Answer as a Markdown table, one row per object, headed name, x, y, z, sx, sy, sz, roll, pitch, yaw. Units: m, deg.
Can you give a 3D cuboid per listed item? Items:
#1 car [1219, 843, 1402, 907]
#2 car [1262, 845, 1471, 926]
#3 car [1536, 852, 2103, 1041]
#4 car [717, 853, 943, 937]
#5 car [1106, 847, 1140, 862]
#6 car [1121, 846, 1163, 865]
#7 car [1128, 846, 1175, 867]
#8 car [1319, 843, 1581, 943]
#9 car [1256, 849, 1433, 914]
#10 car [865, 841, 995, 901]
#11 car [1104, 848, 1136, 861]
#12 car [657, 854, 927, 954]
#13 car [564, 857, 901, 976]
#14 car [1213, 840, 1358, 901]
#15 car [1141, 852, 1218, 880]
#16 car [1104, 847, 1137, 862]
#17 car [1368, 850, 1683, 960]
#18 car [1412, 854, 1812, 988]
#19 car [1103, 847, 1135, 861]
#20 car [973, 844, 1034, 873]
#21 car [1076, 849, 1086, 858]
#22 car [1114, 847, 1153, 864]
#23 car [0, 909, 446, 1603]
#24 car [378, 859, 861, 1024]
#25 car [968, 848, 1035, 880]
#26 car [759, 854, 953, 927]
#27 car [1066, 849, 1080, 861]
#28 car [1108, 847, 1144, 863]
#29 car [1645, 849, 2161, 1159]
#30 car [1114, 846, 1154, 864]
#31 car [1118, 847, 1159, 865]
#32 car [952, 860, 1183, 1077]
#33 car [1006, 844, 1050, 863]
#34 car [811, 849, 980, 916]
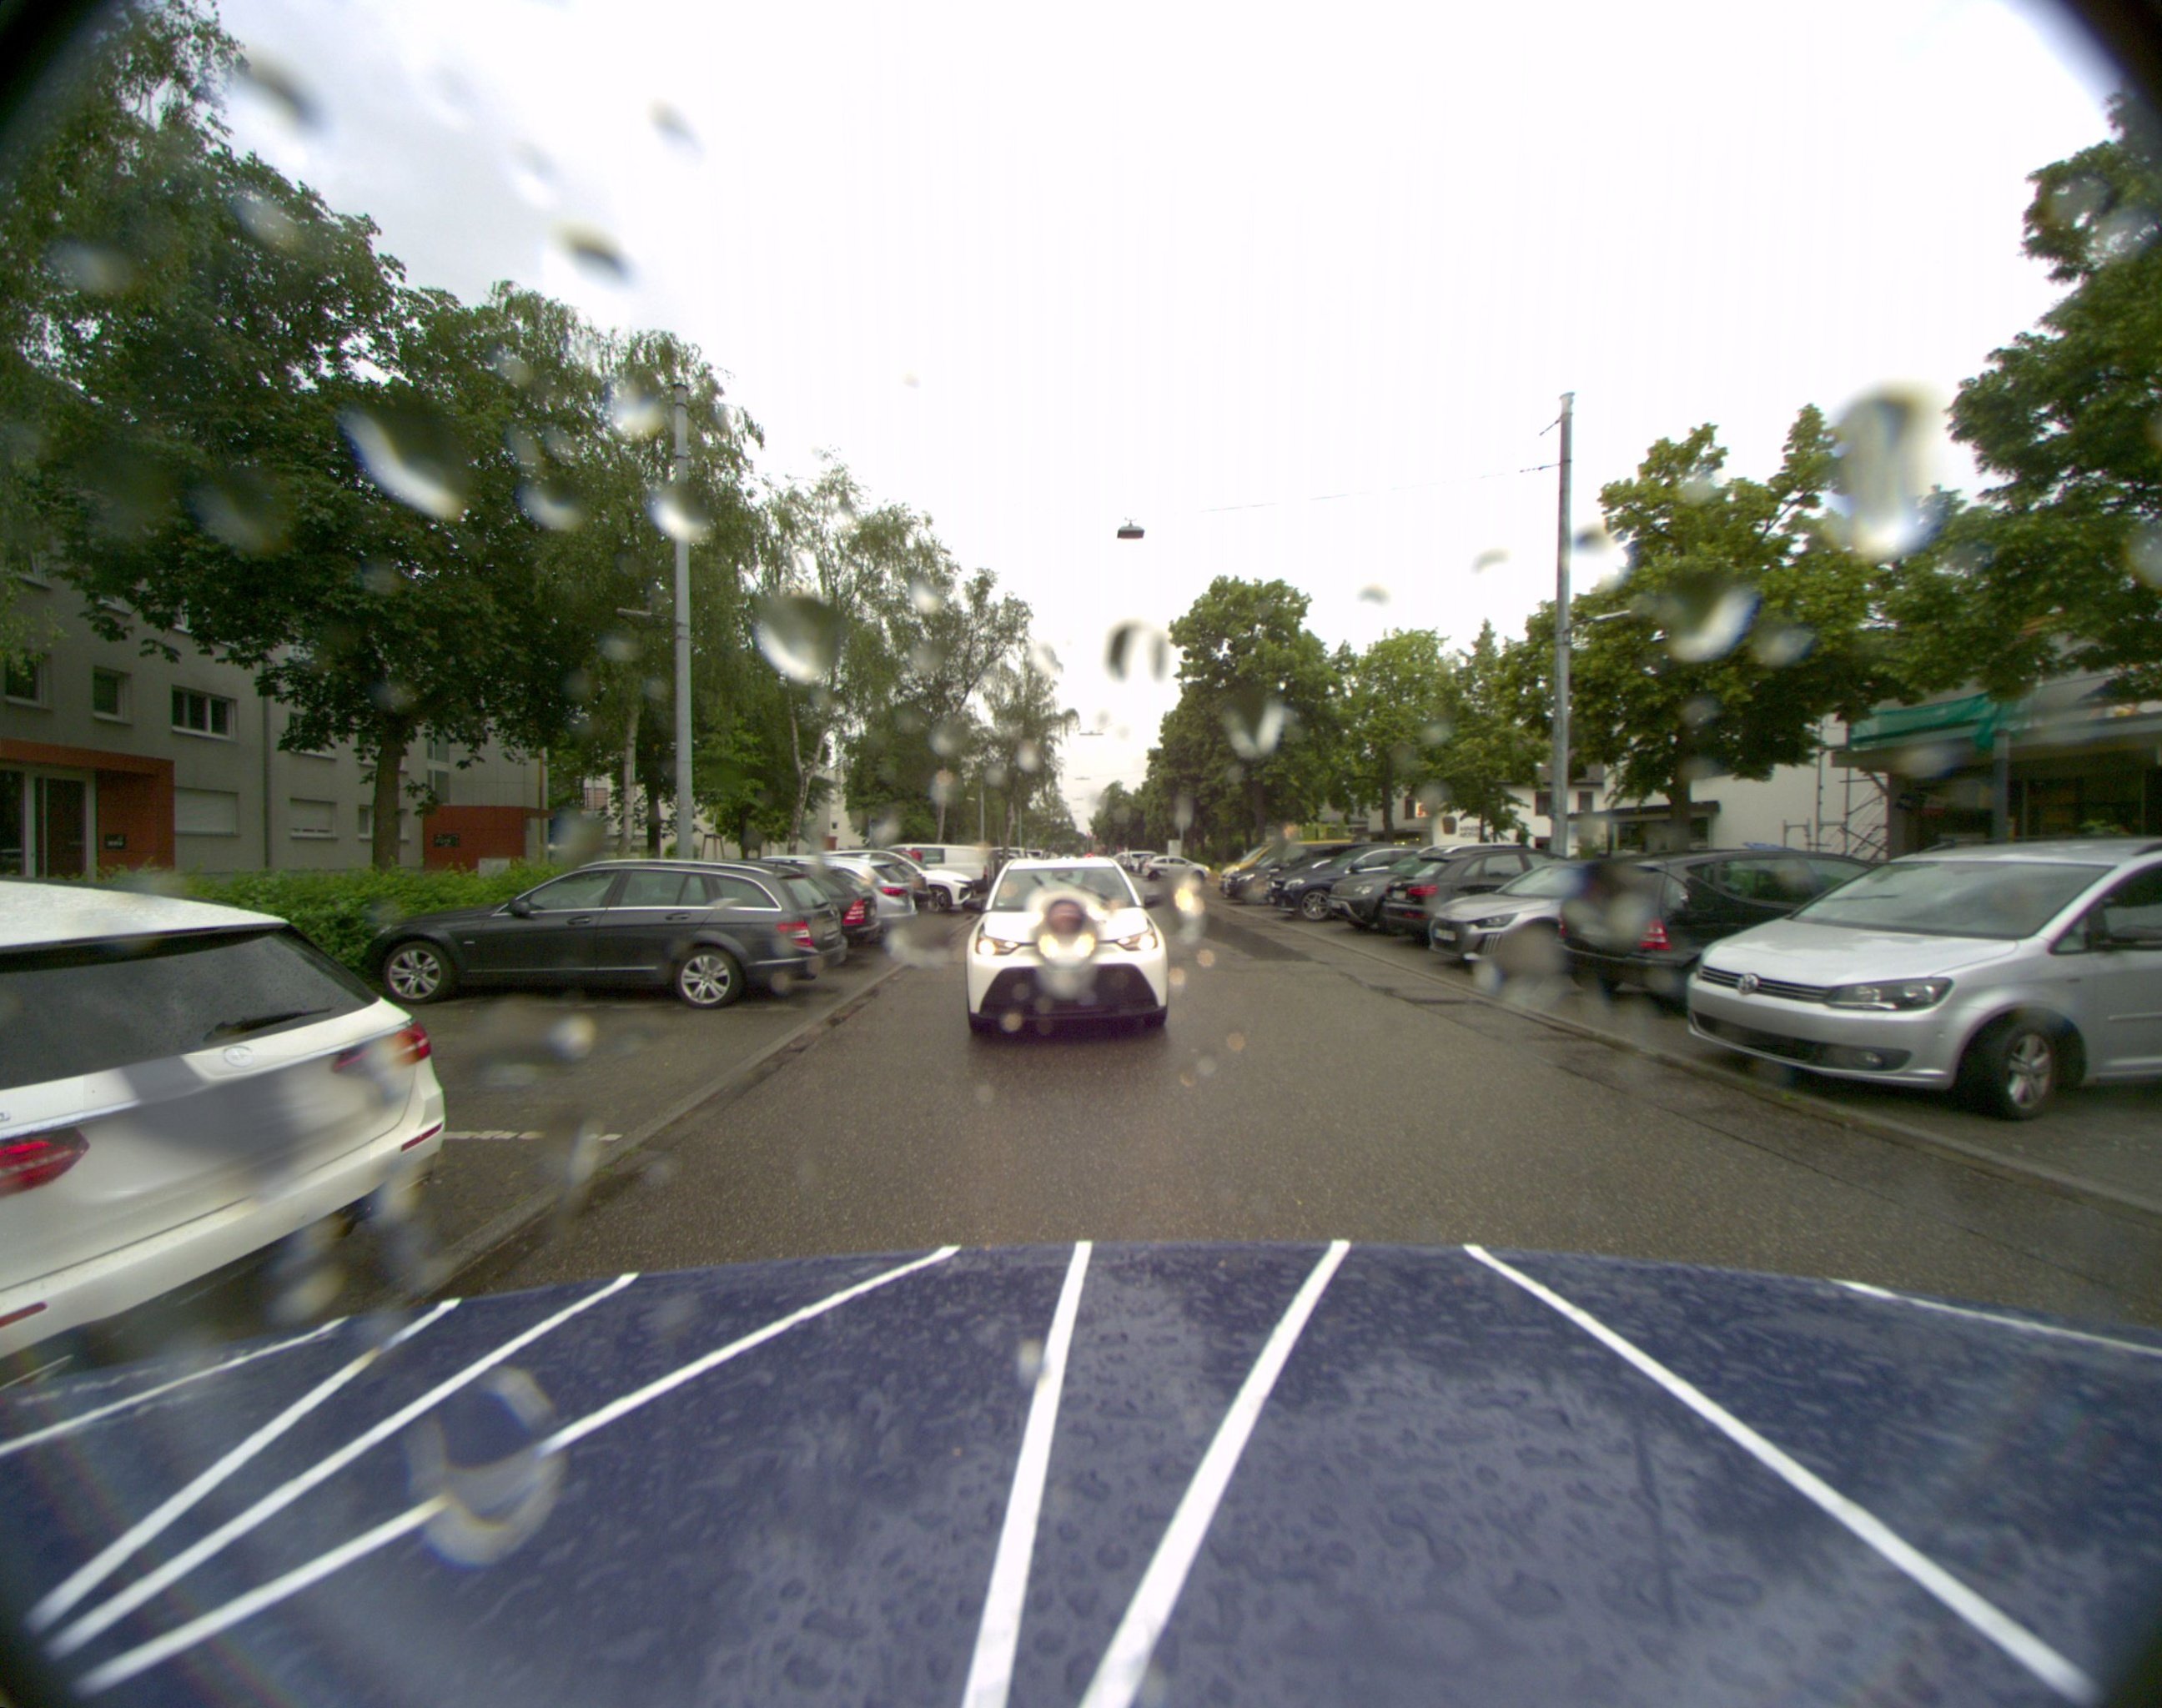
| name | x | y | z | sx | sy | sz | roll | pitch | yaw |
| --- | --- | --- | --- | --- | --- | --- | --- | --- | --- |
| car | 7.107 | 0.633 | 23.826 | 5.177 | 1.789 | 1.715 | -2 | 1 | -2 |
| car | 6.631 | 0.696 | 17.927 | 4.283 | 1.717 | 1.715 | -2 | 1 | -2 |
| car | 7.258 | 0.835 | 7.747 | 4.283 | 1.556 | 1.635 | -2 | 1 | -2 |
| car | -5.015 | 0.797 | 15.597 | 4.049 | 1.488 | 1.680 | 2 | 1 | -3 |
| car | 5.217 | 0.063 | 94.409 | 3.998 | 1.675 | 1.999 | -2 | 1 | -3 |
| car | 6.071 | 0.148 | 75.919 | 3.998 | 1.675 | 1.999 | -2 | 1 | -3 |
| car | 6.356 | 0.228 | 68.842 | 3.998 | 1.675 | 1.999 | -2 | 1 | -3 |
| car | 7.088 | 0.700 | 14.846 | 4.283 | 1.717 | 1.715 | -2 | 1 | -2 |
| car | 7.202 | 0.722 | 21.039 | 4.283 | 1.617 | 1.715 | -2 | 1 | -2 |
| car | -5.105 | 0.567 | 26.170 | 4.182 | 1.856 | 1.679 | 2 | 1 | -6 |
| car | 5.206 | 0.059 | 101.607 | 3.998 | 1.675 | 1.999 | -2 | 1 | -3 |
| car | -4.880 | 0.822 | 13.258 | 4.049 | 1.488 | 1.680 | 2 | 1 | -3 |
| car | -4.829 | 0.850 | 10.969 | 4.049 | 1.431 | 1.680 | 2 | 1 | -3 |
| car | 7.170 | 0.560 | 26.922 | 4.657 | 1.947 | 1.715 | -2 | 1 | -2 |
| car | 5.719 | 0.676 | 44.515 | 4.254 | 1.446 | 2.000 | -2 | 1 | 0 |
| car | 5.026 | 0.038 | 96.931 | 3.998 | 1.675 | 1.999 | -2 | 1 | -3 |
| car | 7.256 | 0.782 | 12.670 | 4.283 | 1.586 | 1.715 | -2 | 1 | -2 |
| car | 7.001 | 0.830 | 10.299 | 4.283 | 1.523 | 1.715 | -2 | 1 | -2 |
| car | 4.969 | 0.011 | 99.164 | 3.998 | 1.675 | 1.999 | -2 | 1 | -3 |
| car | -5.497 | 0.291 | 54.095 | 3.995 | 1.902 | 1.902 | -2 | 1 | 4 |
| car | 0.061 | -0.177 | 161.775 | 1.998 | 1.804 | 3.999 | -2 | 1 | 1 |
| car | 5.784 | 0.178 | 83.746 | 3.998 | 1.675 | 1.999 | -2 | 1 | -3 |
| car | -4.760 | 0.914 | 2.062 | 4.623 | 1.431 | 1.680 | 2 | 1 | 0 |
| car | -4.625 | 0.852 | 8.097 | 4.049 | 1.431 | 1.680 | 2 | 1 | -3 |
| car | -5.117 | 0.648 | 49.263 | 3.995 | 1.902 | 1.902 | -2 | 1 | 4 |
| car | -5.182 | 0.828 | 17.893 | 4.049 | 1.488 | 1.680 | 2 | 1 | -3 |
| car | -1.195 | 0.149 | 118.106 | 1.998 | 1.804 | 3.999 | -2 | 1 | 1 |
| car | 5.334 | 0.111 | 90.303 | 3.998 | 1.675 | 1.999 | -2 | 1 | -3 |
| car | 6.607 | 0.835 | 5.195 | 4.283 | 1.625 | 1.715 | -2 | 1 | -2 |
| car | 5.637 | 0.095 | 81.268 | 3.998 | 1.675 | 1.999 | -2 | 1 | -3 |
| car | 5.920 | 0.220 | 78.597 | 3.998 | 1.675 | 1.999 | -2 | 1 | -3 |
| car | -0.183 | 0.898 | 7.936 | 1.733 | 1.519 | 4.138 | -2 | 1 | -3 |
| car | -5.216 | -0.059 | 74.995 | 3.995 | 1.670 | 1.902 | -2 | 1 | 4 |
| car | -5.022 | 0.747 | 20.902 | 4.179 | 1.609 | 1.680 | 2 | 1 | 1 |
